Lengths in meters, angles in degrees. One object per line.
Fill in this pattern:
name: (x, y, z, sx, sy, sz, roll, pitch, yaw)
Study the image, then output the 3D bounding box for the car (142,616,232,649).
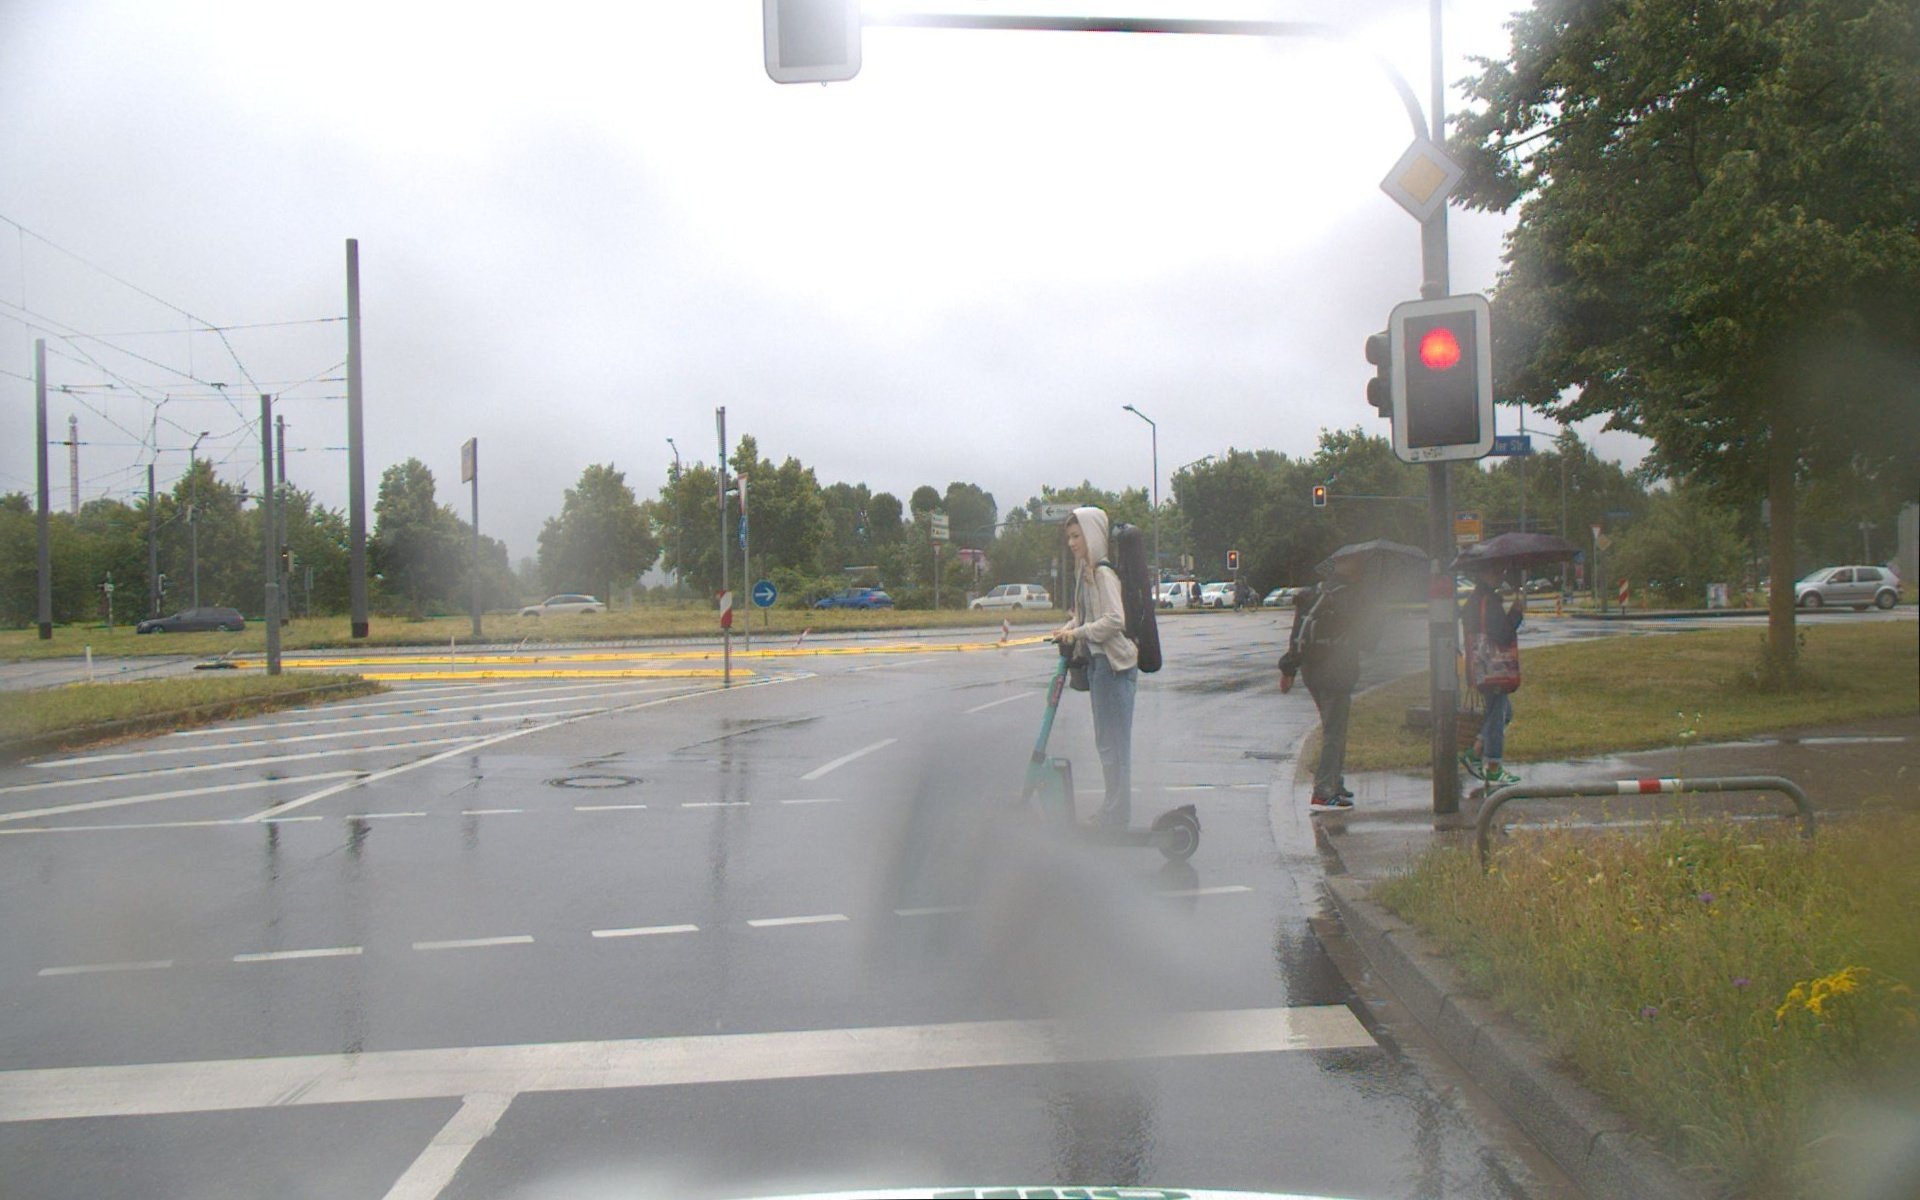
car: (-37.963, 1.567, 81.260, 3.929, 1.479, 1.609, -1, 0, -28)

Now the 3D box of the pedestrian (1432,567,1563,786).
pedestrian: (3.801, 0.530, 11.733, 0.667, 1.486, 0.573, -2, -1, -5)

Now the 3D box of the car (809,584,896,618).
car: (-4.962, 0.058, 76.158, 3.908, 1.479, 1.617, -1, 0, 36)

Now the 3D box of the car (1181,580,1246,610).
car: (14.845, -0.284, 96.749, 1.769, 1.691, 4.385, 1, -1, 40)

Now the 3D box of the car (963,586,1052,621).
car: (2.041, 0.157, 71.510, 1.609, 1.479, 3.927, -1, 0, -41)

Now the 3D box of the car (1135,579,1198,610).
car: (12.281, -0.321, 98.354, 1.769, 1.691, 4.112, 1, -1, 40)

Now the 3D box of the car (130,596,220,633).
car: (-40.774, 0.754, 86.016, 1.644, 1.847, 3.994, 1, -1, 28)

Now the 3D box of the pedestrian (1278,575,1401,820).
pedestrian: (2.487, 0.621, 10.892, 0.608, 1.549, 0.741, 1, 0, -2)

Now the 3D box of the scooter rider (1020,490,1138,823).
scooter rider: (0.638, 0.294, 8.939, 0.521, 1.739, 0.433, -2, 0, -7)

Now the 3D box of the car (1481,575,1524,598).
car: (43.315, -1.085, 131.960, 1.769, 1.691, 4.386, -1, 1, 40)

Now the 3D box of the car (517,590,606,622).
car: (-19.485, 0.281, 81.020, 4.022, 1.479, 1.621, -1, 0, -8)

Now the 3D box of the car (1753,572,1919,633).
car: (28.892, 0.101, 54.371, 4.663, 1.884, 2.000, 1, -1, -1)

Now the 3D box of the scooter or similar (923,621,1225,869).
scooter or similar: (0.606, 0.773, 8.934, 1.555, 1.281, 0.447, 1, -1, -7)

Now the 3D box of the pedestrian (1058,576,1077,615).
pedestrian: (3.664, -0.147, 56.492, 0.445, 1.327, 0.484, -1, 0, 38)

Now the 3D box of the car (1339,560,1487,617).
car: (15.747, -0.379, 57.508, 4.668, 1.883, 1.998, -1, 0, 27)

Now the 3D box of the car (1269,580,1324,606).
car: (22.758, -0.510, 111.884, 1.769, 1.691, 4.386, -1, 0, 40)

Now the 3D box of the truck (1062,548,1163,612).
truck: (7.140, -0.862, 76.274, 2.411, 2.733, 8.057, 1, -1, 22)
